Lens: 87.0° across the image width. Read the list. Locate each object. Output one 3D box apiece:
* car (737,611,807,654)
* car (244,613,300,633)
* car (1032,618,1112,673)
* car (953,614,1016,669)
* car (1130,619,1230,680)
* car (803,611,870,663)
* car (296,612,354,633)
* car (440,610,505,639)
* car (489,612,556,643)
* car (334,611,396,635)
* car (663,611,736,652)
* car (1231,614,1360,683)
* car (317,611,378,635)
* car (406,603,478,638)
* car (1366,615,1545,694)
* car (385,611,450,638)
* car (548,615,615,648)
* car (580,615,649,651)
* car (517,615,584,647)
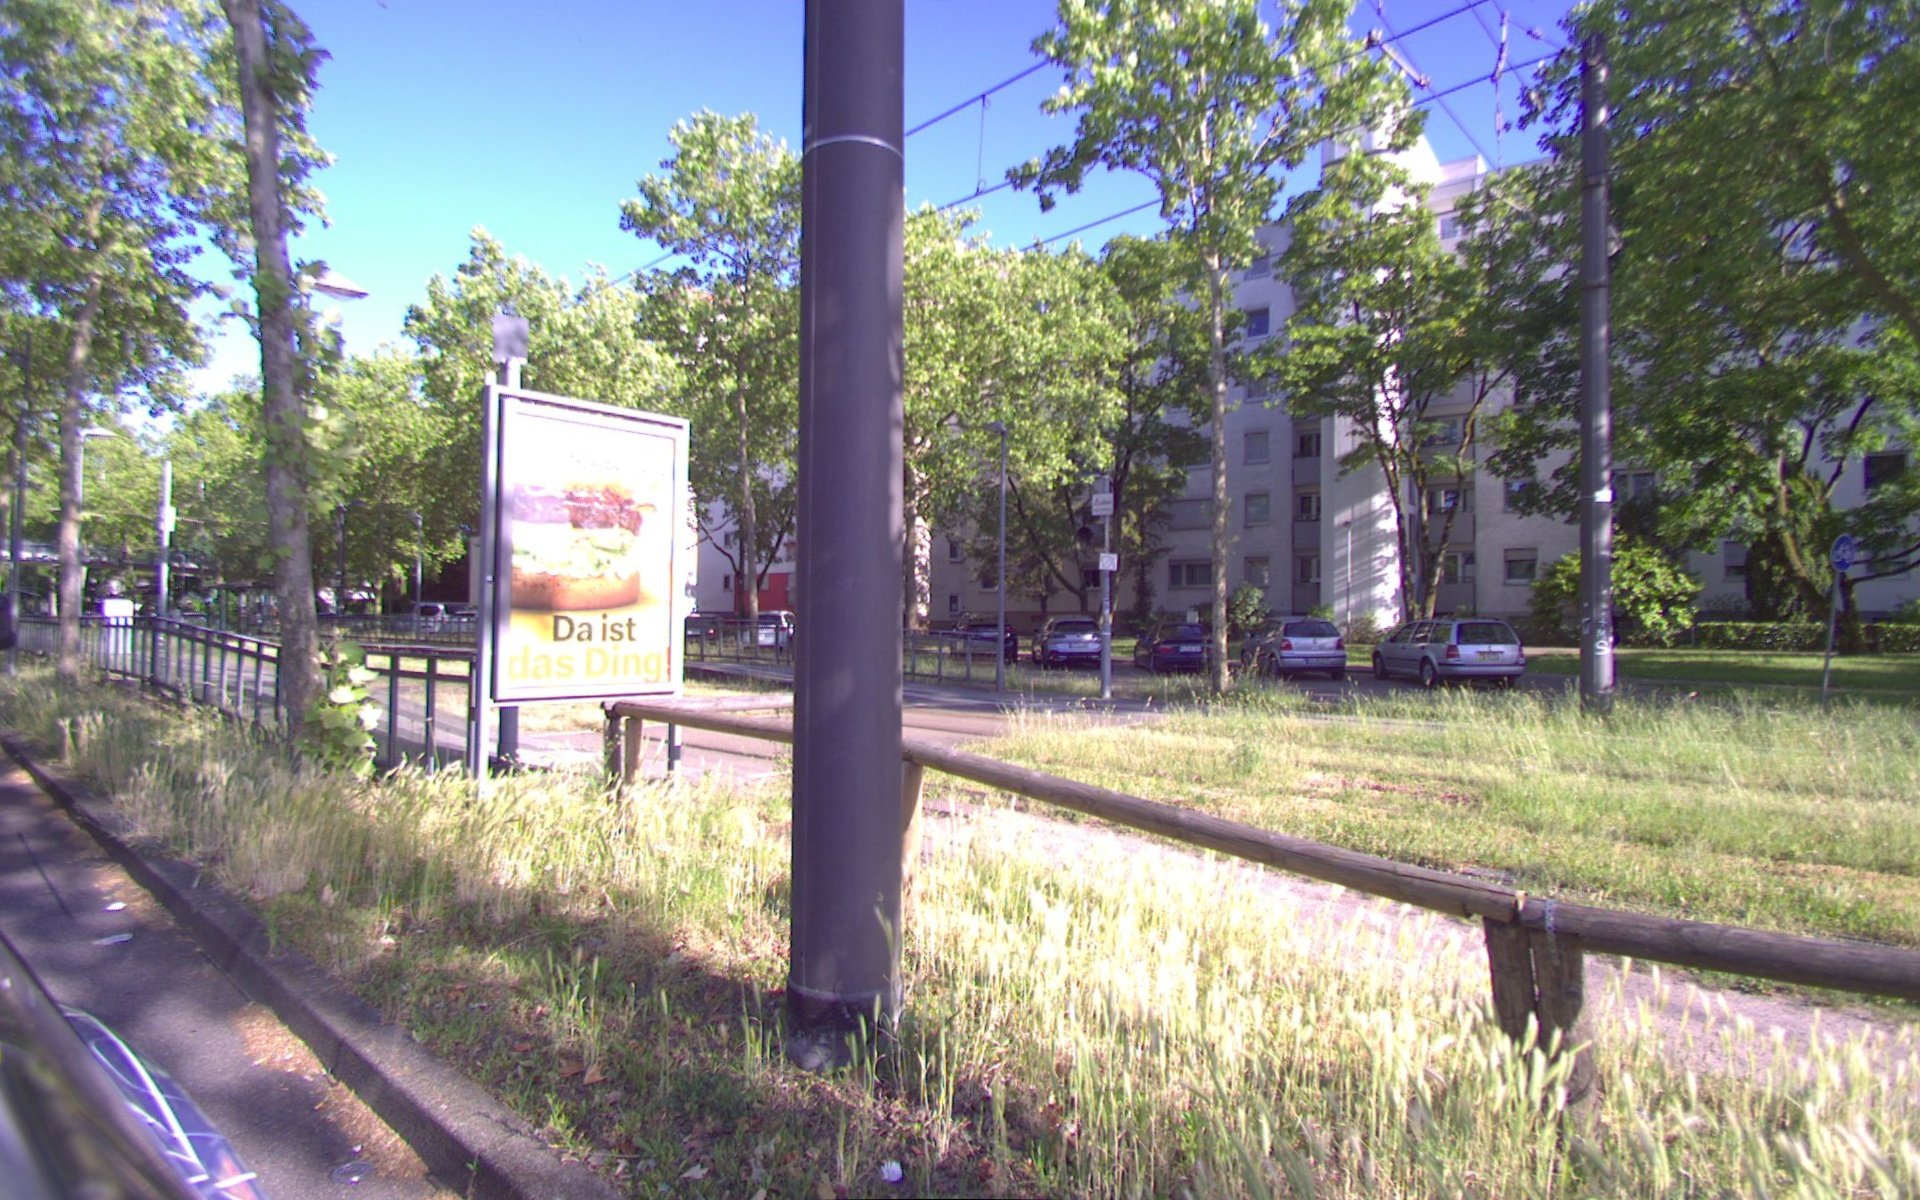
[{"bbox_3d":[-6.978,1.181,37.996,1.771,1.510,4.047,-1,-1,2],"label":"car"},{"bbox_3d":[-54.376,1.768,80.099,1.770,1.510,4.050,-1,-1,-1],"label":"car"},{"bbox_3d":[3.083,1.231,28.659,1.770,1.398,4.049,-1,-1,0],"label":"car"},{"bbox_3d":[0.743,1.200,30.700,1.771,1.510,4.047,-1,-1,2],"label":"car"},{"bbox_3d":[5.605,1.223,26.232,1.654,1.398,4.049,-1,-1,0],"label":"car"},{"bbox_3d":[-4.297,1.261,35.740,1.771,1.676,4.047,-1,-1,2],"label":"car"},{"bbox_3d":[-45.988,1.610,73.420,1.770,1.510,4.050,-1,-1,-1],"label":"car"},{"bbox_3d":[-27.215,1.352,56.603,1.770,1.510,4.050,-1,-1,-1],"label":"car"},{"bbox_3d":[-22.479,1.394,52.174,1.770,1.510,4.050,-1,-1,-1],"label":"car"},{"bbox_3d":[-38.893,1.491,66.268,1.770,1.510,4.050,-1,-1,-1],"label":"car"},{"bbox_3d":[-10.264,1.199,40.111,1.771,1.510,4.047,-1,-1,2],"label":"car"},{"bbox_3d":[8.040,1.116,24.654,1.740,1.498,4.049,-1,-1,0],"label":"car"},{"bbox_3d":[-41.410,1.534,68.519,1.770,1.510,4.050,-1,-1,-1],"label":"car"},{"bbox_3d":[-29.676,1.161,58.156,1.993,1.933,4.433,-1,-1,-1],"label":"car"},{"bbox_3d":[10.458,1.082,21.716,1.789,1.498,4.049,-1,-1,0],"label":"car"},{"bbox_3d":[-32.263,1.413,60.272,1.770,1.510,4.050,-1,-1,-1],"label":"car"},{"bbox_3d":[-17.996,1.467,48.265,1.770,1.510,4.050,-1,-1,-1],"label":"car"},{"bbox_3d":[-15.432,1.447,45.387,1.770,1.510,4.050,-1,-1,-1],"label":"car"},{"bbox_3d":[-20.334,1.500,50.449,1.770,1.510,4.050,-1,-1,-1],"label":"car"}]
